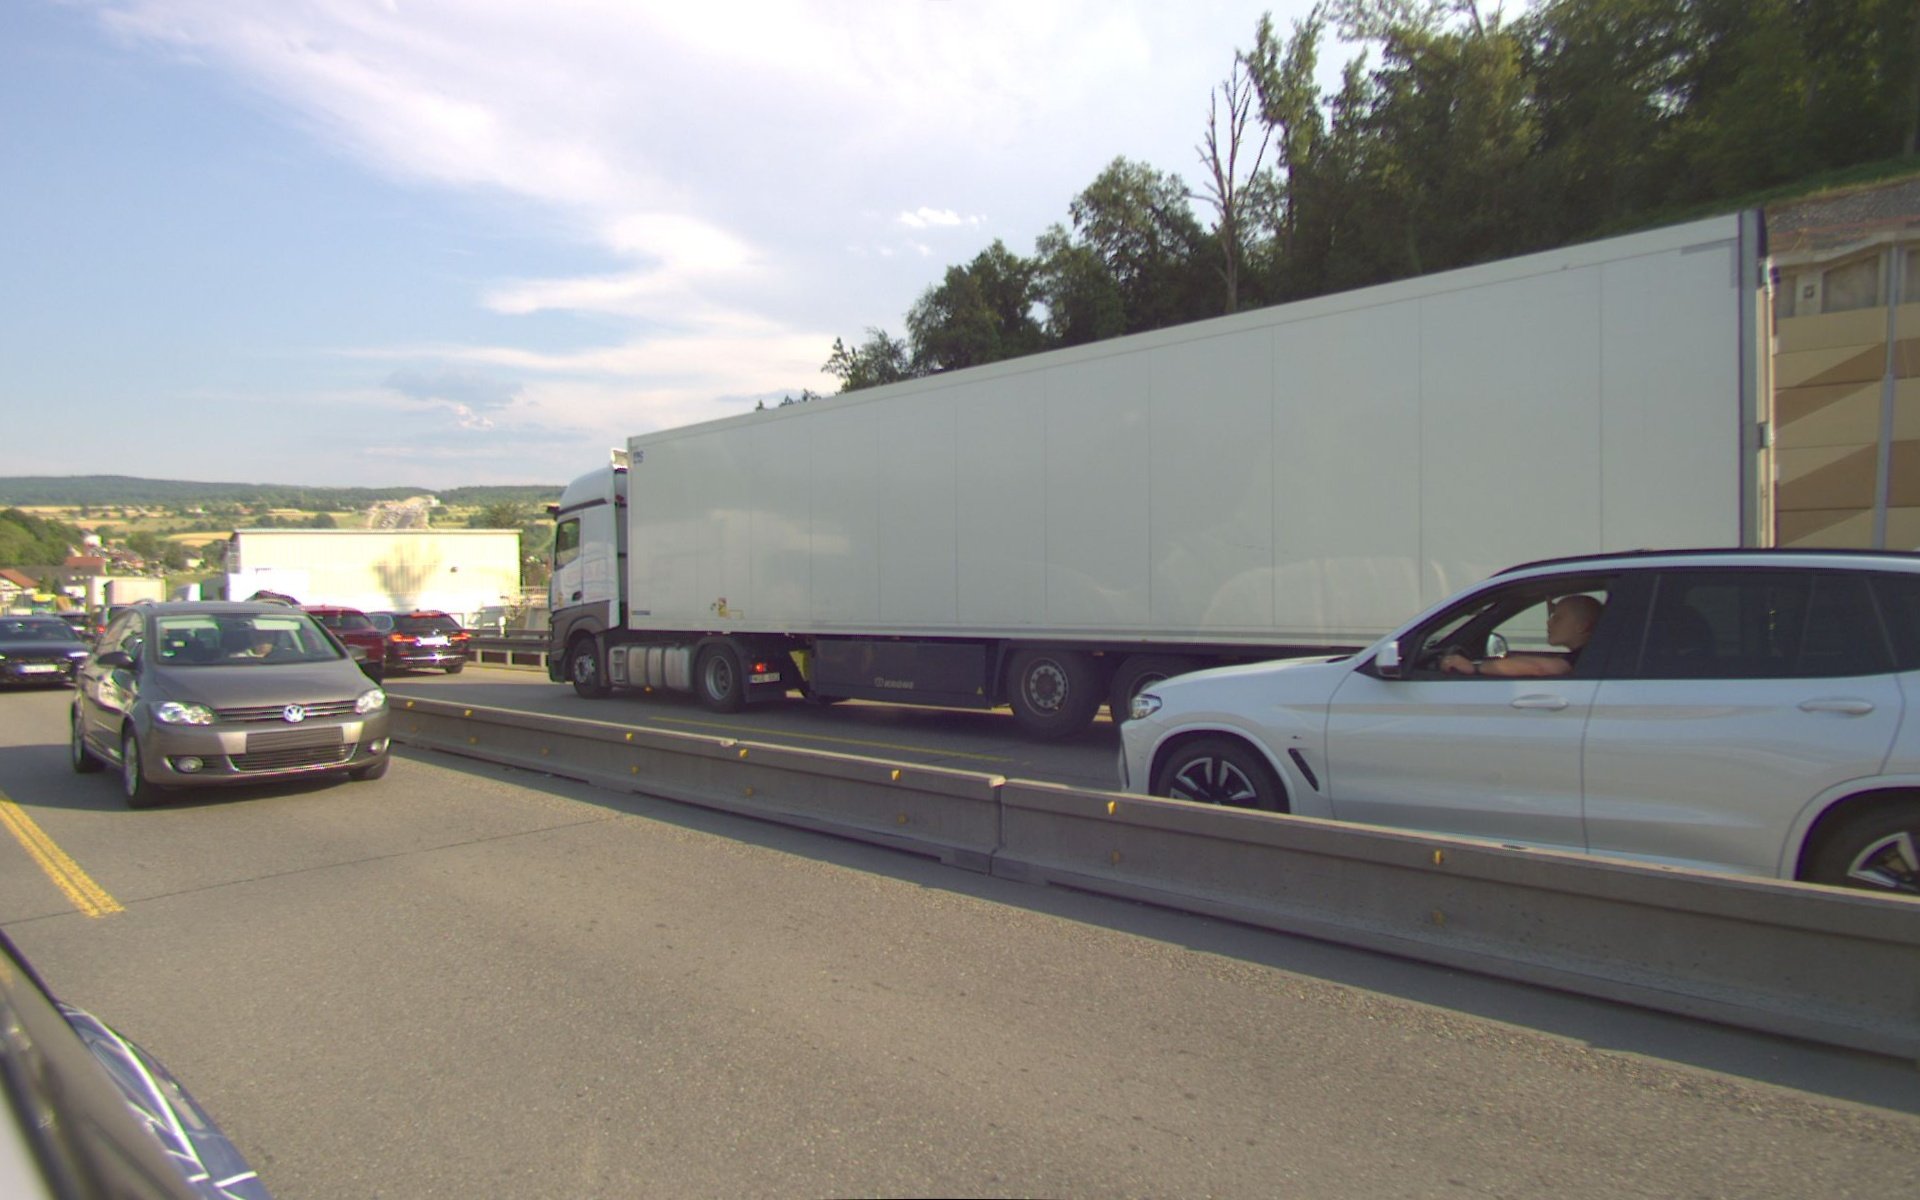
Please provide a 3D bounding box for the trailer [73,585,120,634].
[{"bbox_3d":[-77.555,0.884,90.772,2.823,4.066,13.988,0,-1,-42],"label":"trailer"}]

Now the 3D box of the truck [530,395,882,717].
[{"bbox_3d":[-4.222,-0.551,16.224,5.678,4.250,2.685,-1,-1,41],"label":"truck"}]

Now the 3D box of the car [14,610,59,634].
[{"bbox_3d":[-63.046,1.533,69.098,2.034,1.498,4.729,4,-5,-44],"label":"car"}]

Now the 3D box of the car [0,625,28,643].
[{"bbox_3d":[-86.821,3.137,92.672,4.755,1.591,1.797,-3,-4,43],"label":"car"}]

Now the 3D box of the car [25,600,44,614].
[{"bbox_3d":[-143.395,1.103,156.742,4.755,2.015,1.797,-3,-4,43],"label":"car"}]

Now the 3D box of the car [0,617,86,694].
[{"bbox_3d":[-18.987,1.064,20.411,1.840,1.409,4.003,1,-1,-44],"label":"car"}]

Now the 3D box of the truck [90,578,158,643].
[{"bbox_3d":[-48.014,0.615,58.041,2.419,3.489,7.622,0,-1,-44],"label":"truck"}]

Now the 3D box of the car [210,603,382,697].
[{"bbox_3d":[-13.022,0.937,19.736,4.456,1.580,1.867,-2,-1,44],"label":"car"}]

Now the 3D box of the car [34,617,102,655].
[{"bbox_3d":[-39.630,1.635,44.923,4.755,1.591,1.797,-3,-4,43],"label":"car"}]

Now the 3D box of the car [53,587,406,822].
[{"bbox_3d":[-6.499,0.722,8.819,4.098,1.586,1.666,-1,0,42],"label":"car"}]

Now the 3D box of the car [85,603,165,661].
[{"bbox_3d":[-28.164,1.087,34.060,1.783,1.785,5.458,-1,-2,-42],"label":"car"}]

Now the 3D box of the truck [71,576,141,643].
[{"bbox_3d":[-58.253,0.674,68.850,2.676,4.119,14.164,1,-1,-44],"label":"truck"}]

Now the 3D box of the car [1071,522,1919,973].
[{"bbox_3d":[3.081,0.542,5.085,4.800,1.601,1.850,-2,-1,40],"label":"car"}]

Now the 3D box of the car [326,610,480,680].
[{"bbox_3d":[-13.061,1.005,23.587,4.712,1.471,1.724,-2,-1,42],"label":"car"}]

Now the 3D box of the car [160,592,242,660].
[{"bbox_3d":[-31.574,1.027,42.002,1.934,2.640,5.752,1,-1,-45],"label":"car"}]

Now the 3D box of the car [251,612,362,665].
[{"bbox_3d":[-19.510,1.088,30.137,4.610,1.433,1.730,-1,0,43],"label":"car"}]

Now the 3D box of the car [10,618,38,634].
[{"bbox_3d":[-98.627,2.771,106.648,4.755,1.591,1.797,-3,-4,43],"label":"car"}]

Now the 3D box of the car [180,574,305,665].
[{"bbox_3d":[-25.604,0.666,35.962,7.636,2.940,2.308,-1,-1,45],"label":"car"}]

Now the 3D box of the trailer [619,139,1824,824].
[{"bbox_3d":[0.953,-0.649,11.776,13.739,4.250,2.693,-1,-1,41],"label":"trailer"}]
